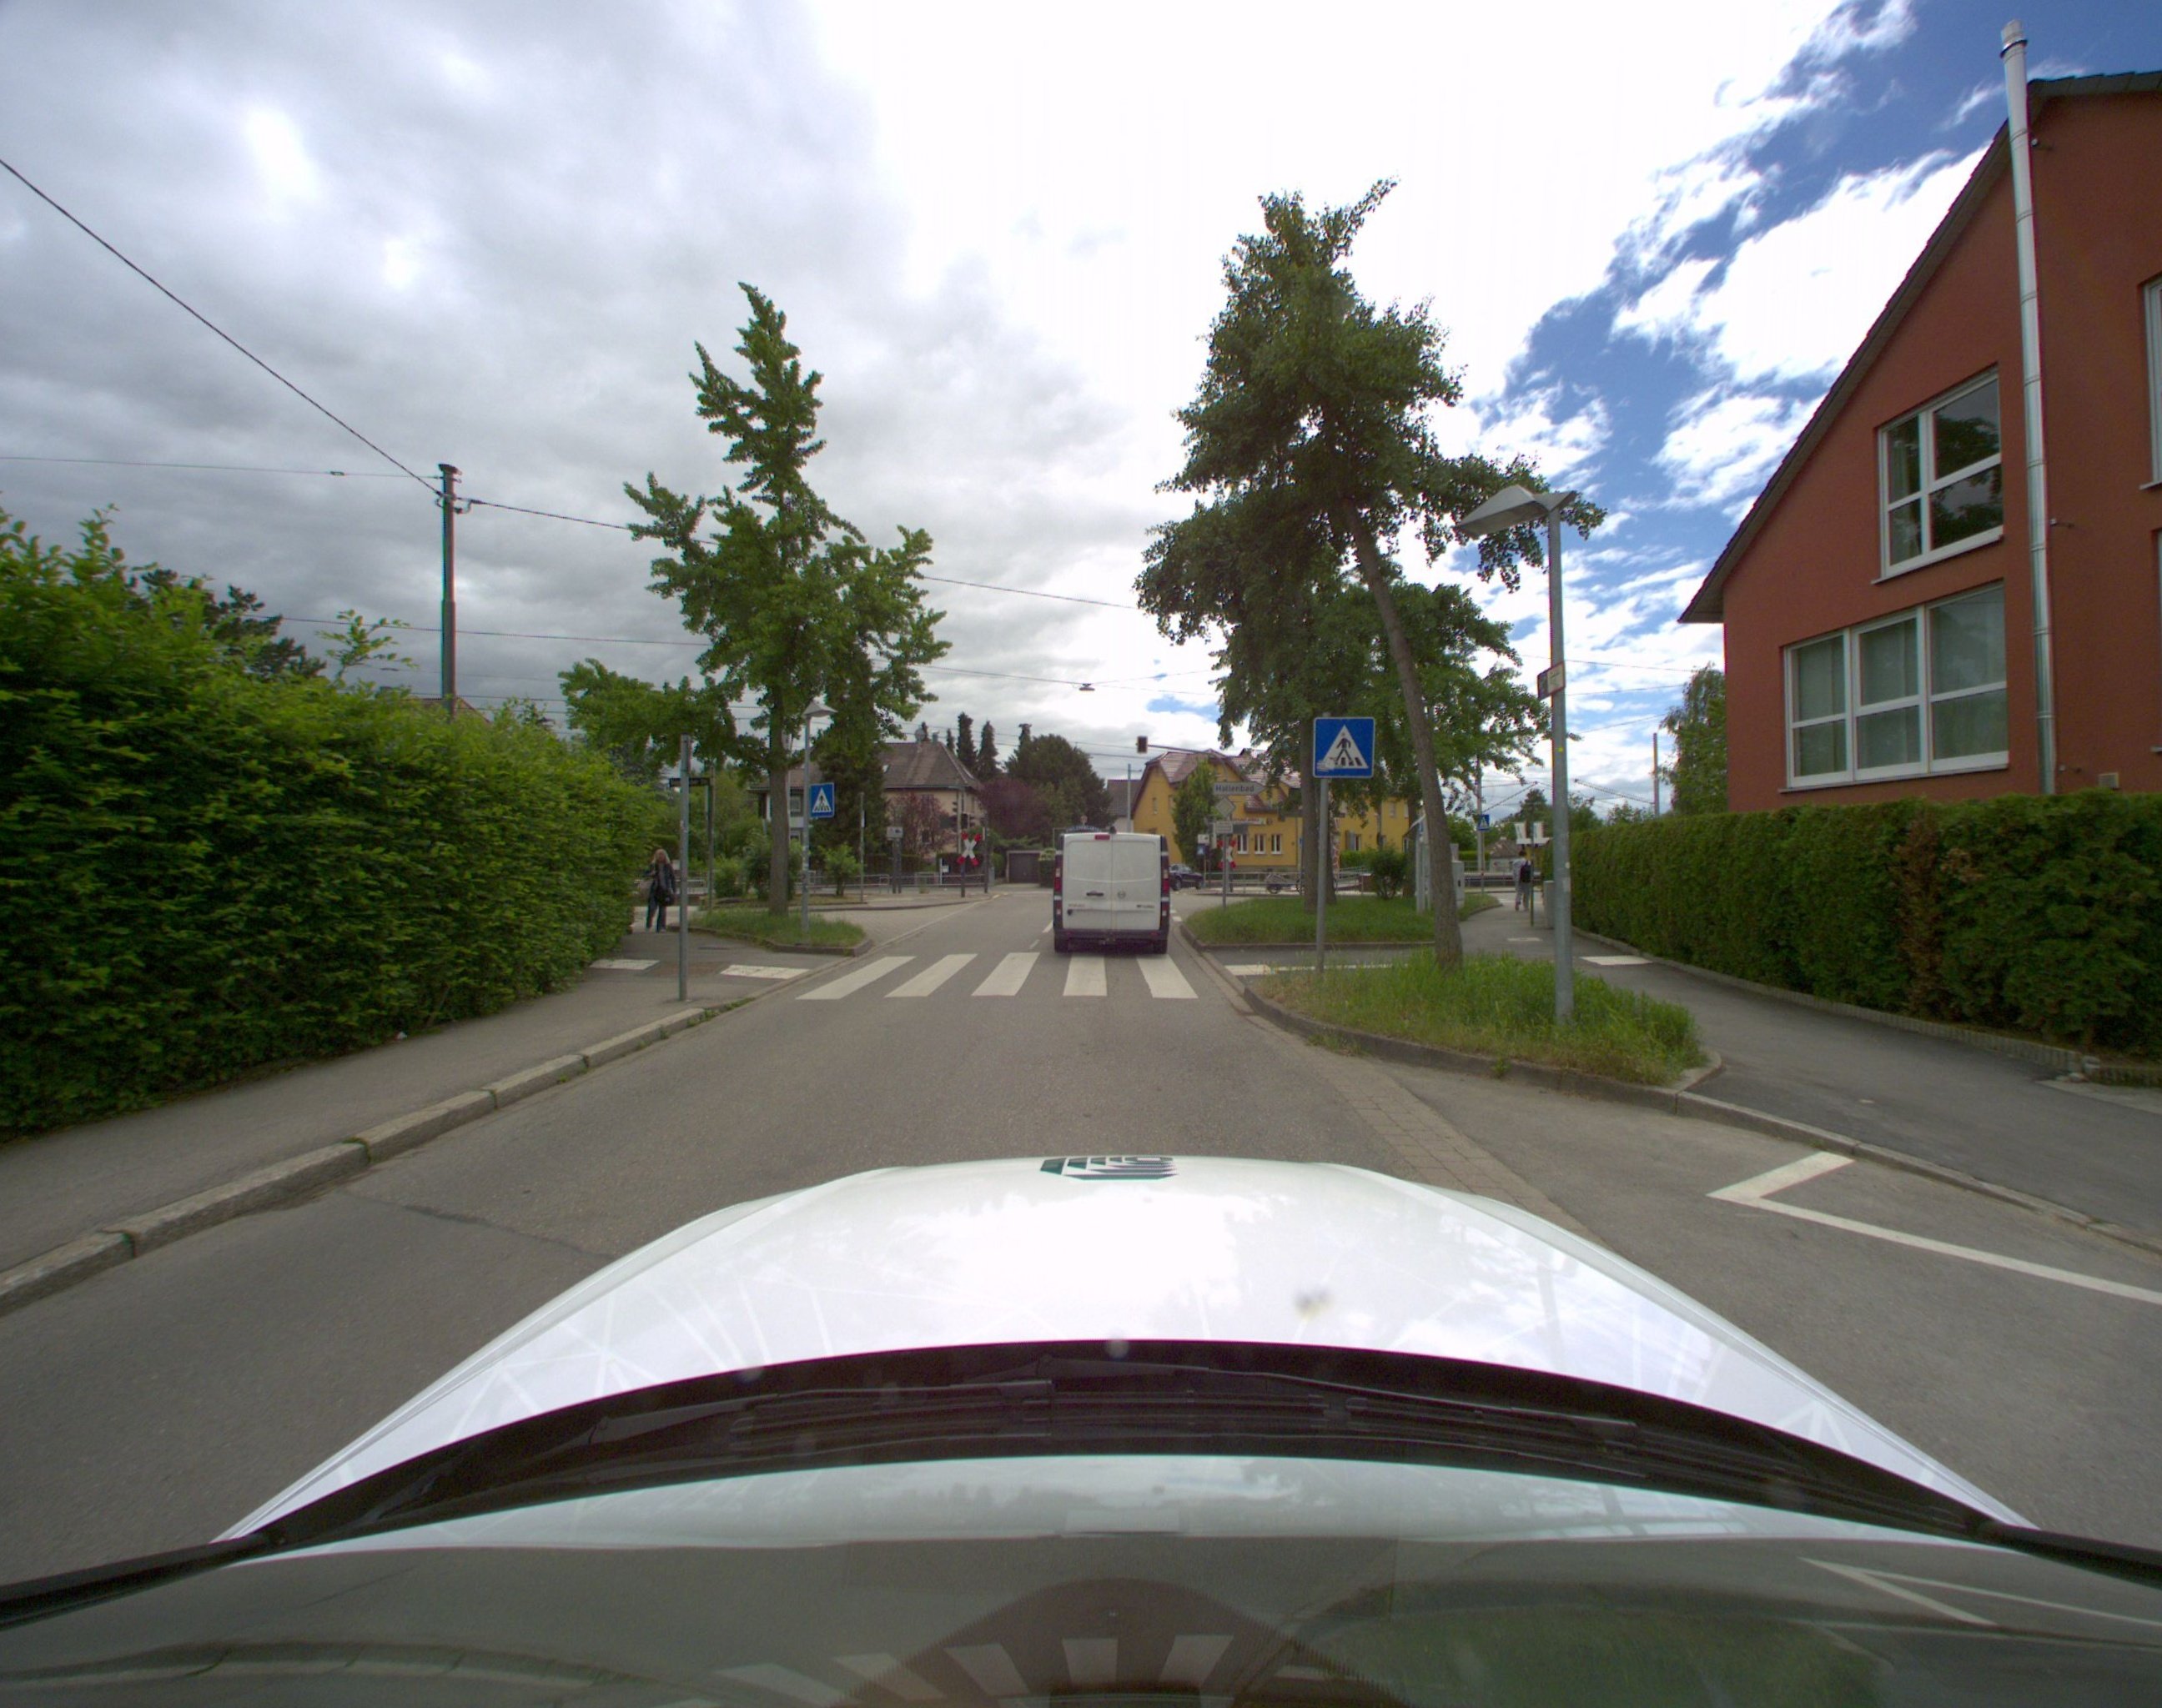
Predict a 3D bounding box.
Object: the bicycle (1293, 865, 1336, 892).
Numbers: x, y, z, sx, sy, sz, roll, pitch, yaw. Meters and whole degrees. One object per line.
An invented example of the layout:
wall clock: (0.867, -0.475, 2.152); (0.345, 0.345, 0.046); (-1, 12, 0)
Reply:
bicycle: (9.893, 1.032, 34.545); (1.685, 1.156, 0.465); (0, -1, -7)

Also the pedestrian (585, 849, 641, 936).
pedestrian: (-9.061, 0.726, 15.781); (0.591, 1.620, 0.682); (2, -1, 33)

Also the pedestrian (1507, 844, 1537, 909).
pedestrian: (13.262, 0.658, 24.473); (0.617, 1.915, 0.836); (-2, -1, 38)

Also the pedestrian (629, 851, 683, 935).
pedestrian: (-8.494, 0.768, 16.284); (0.591, 1.620, 0.682); (2, -1, 33)

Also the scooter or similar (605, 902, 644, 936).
scooter or similar: (-8.678, 1.229, 15.481); (0.395, 0.610, 0.491); (2, -1, 33)

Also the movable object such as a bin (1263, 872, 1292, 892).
movable object such as a bin: (8.308, 1.186, 34.514); (1.088, 0.824, 0.579); (0, -1, -3)

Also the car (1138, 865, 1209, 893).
car: (5.557, 1.470, 48.310); (2.333, 1.564, 4.400); (1, -1, 35)

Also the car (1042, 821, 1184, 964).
car: (0.494, 0.605, 14.955); (2.110, 2.134, 5.439); (1, -1, 0)
